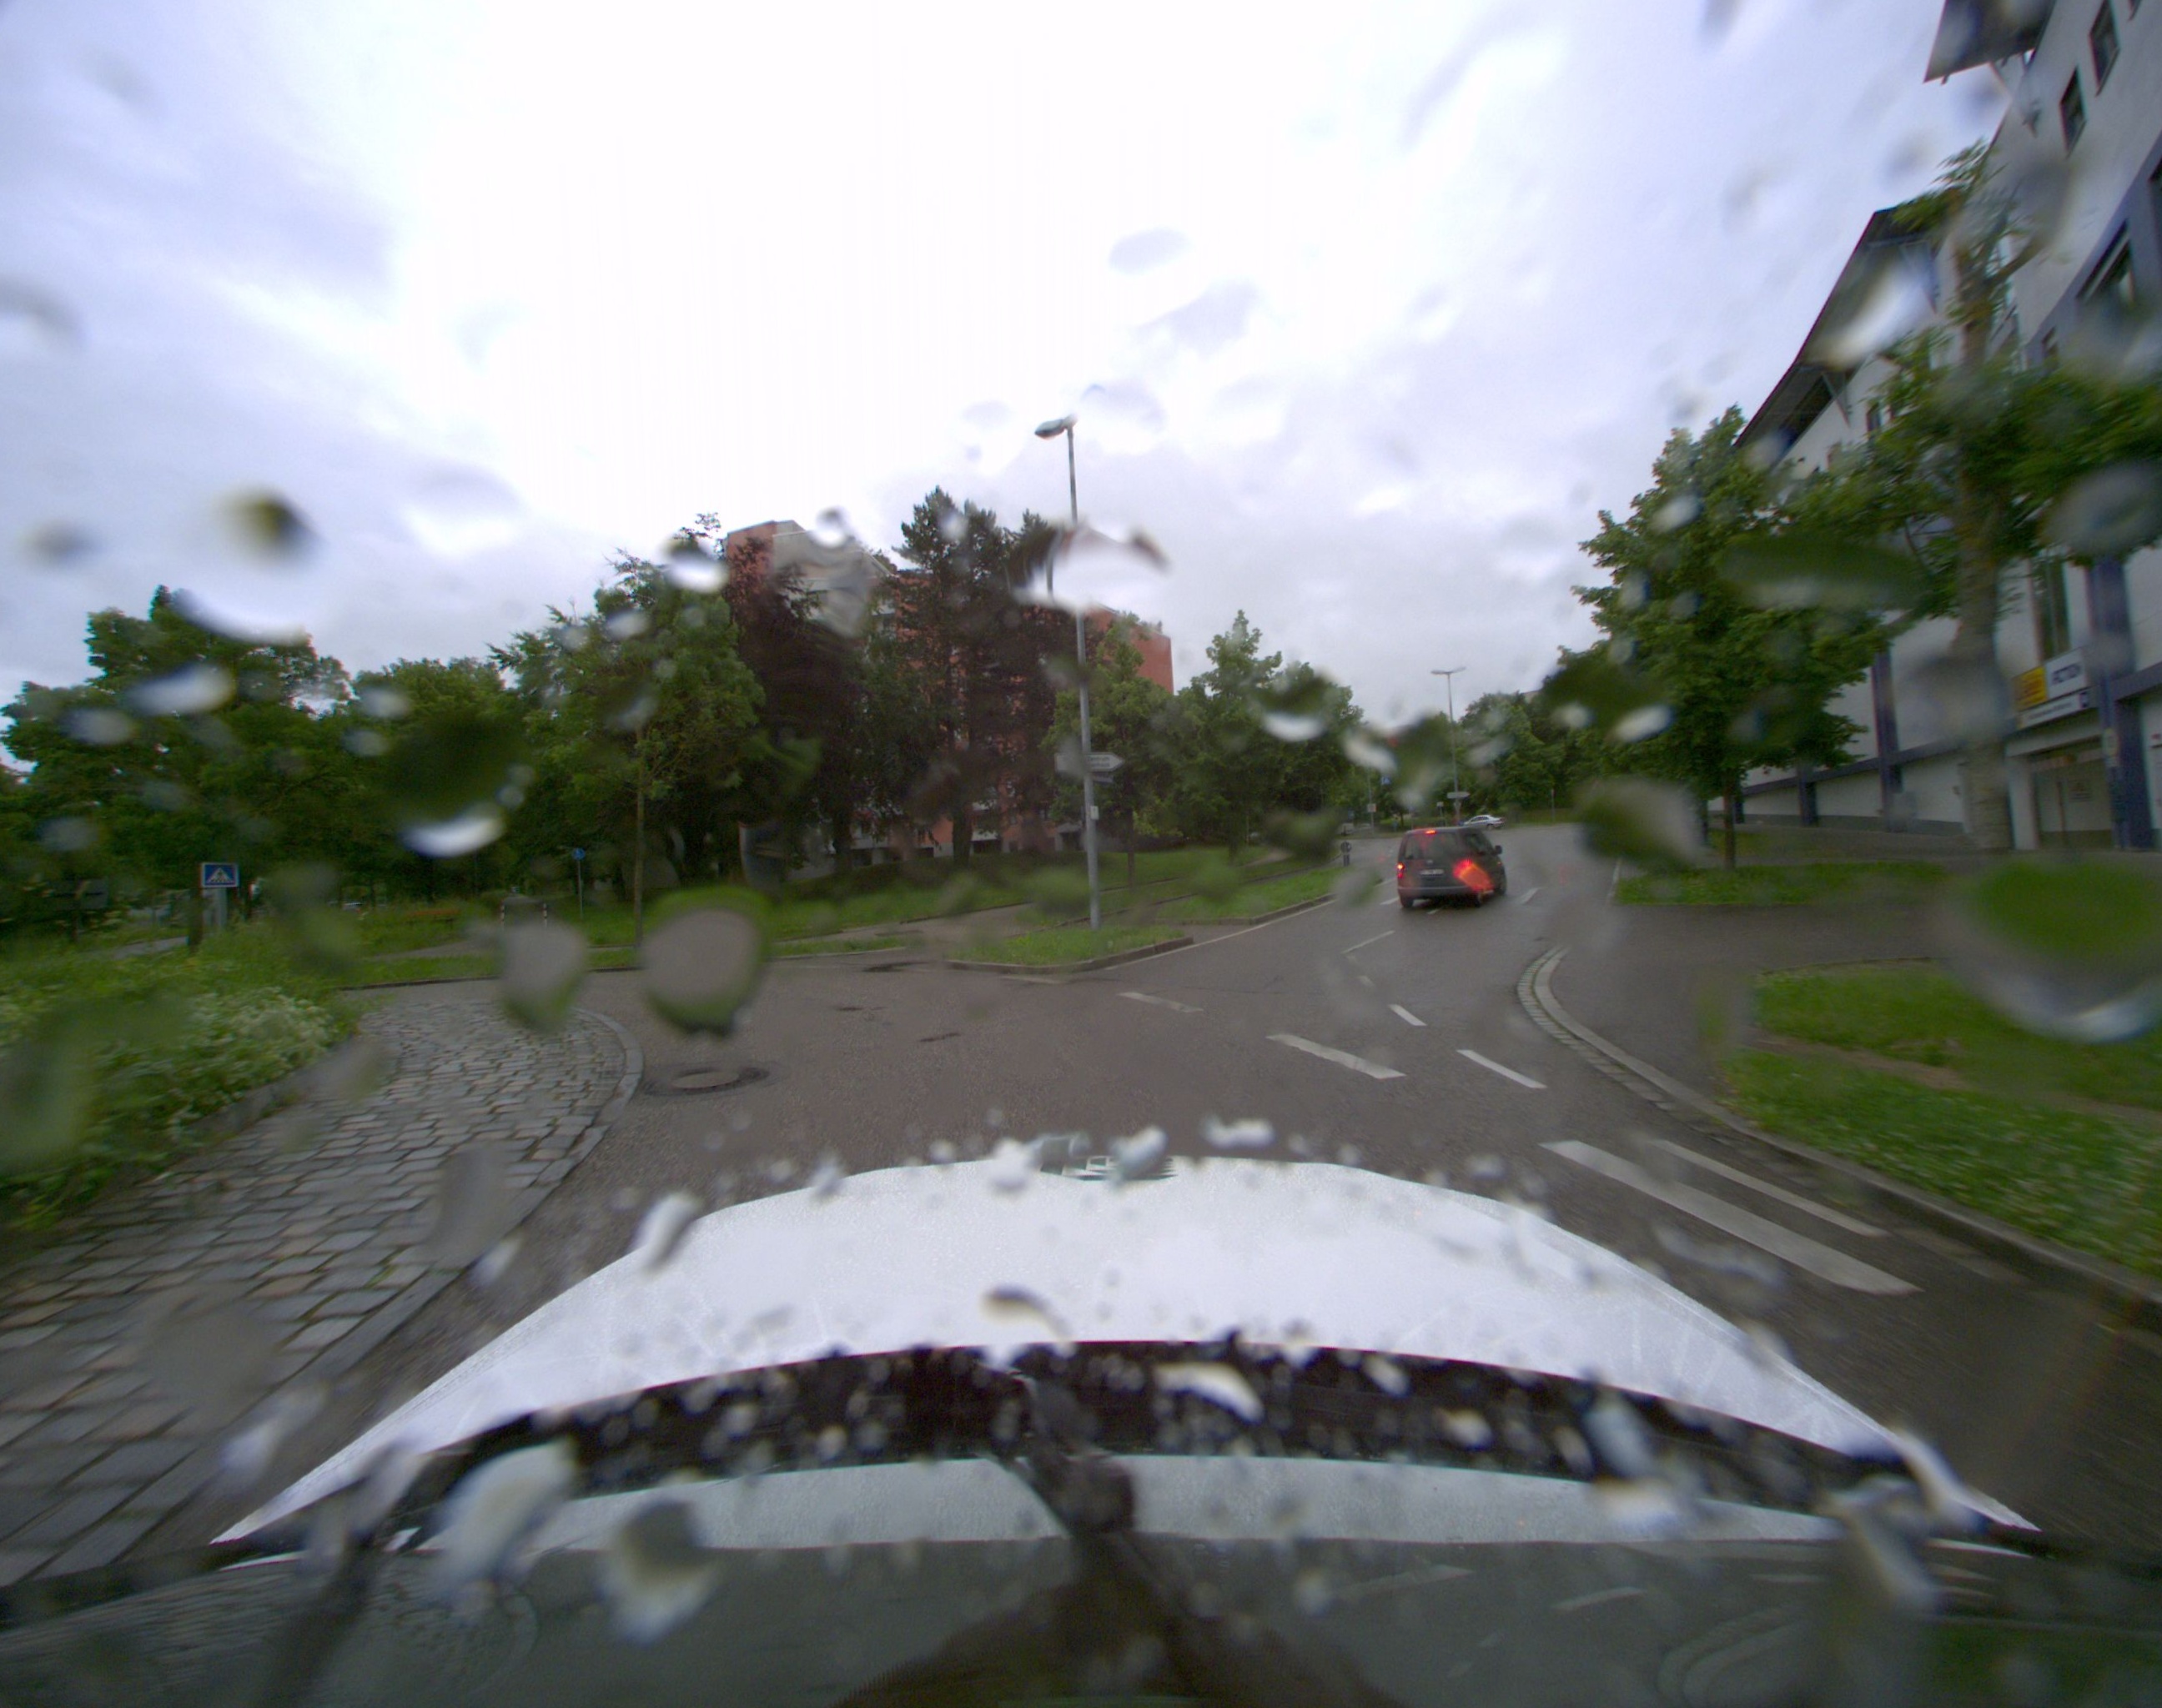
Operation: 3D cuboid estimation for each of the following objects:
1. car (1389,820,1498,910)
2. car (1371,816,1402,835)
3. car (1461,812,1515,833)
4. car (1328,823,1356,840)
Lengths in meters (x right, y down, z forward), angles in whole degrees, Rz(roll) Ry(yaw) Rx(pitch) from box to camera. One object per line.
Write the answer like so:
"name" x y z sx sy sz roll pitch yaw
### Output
"car" 8.792 0.196 19.581 1.900 1.801 3.814 -4 1 30
"car" 36.234 -3.377 96.615 1.844 1.873 3.852 -3 -1 -7
"car" 37.272 -2.883 74.696 1.896 1.565 3.952 -2 -2 -41
"car" 33.694 -2.922 105.238 1.991 1.873 3.992 -3 -1 -5
